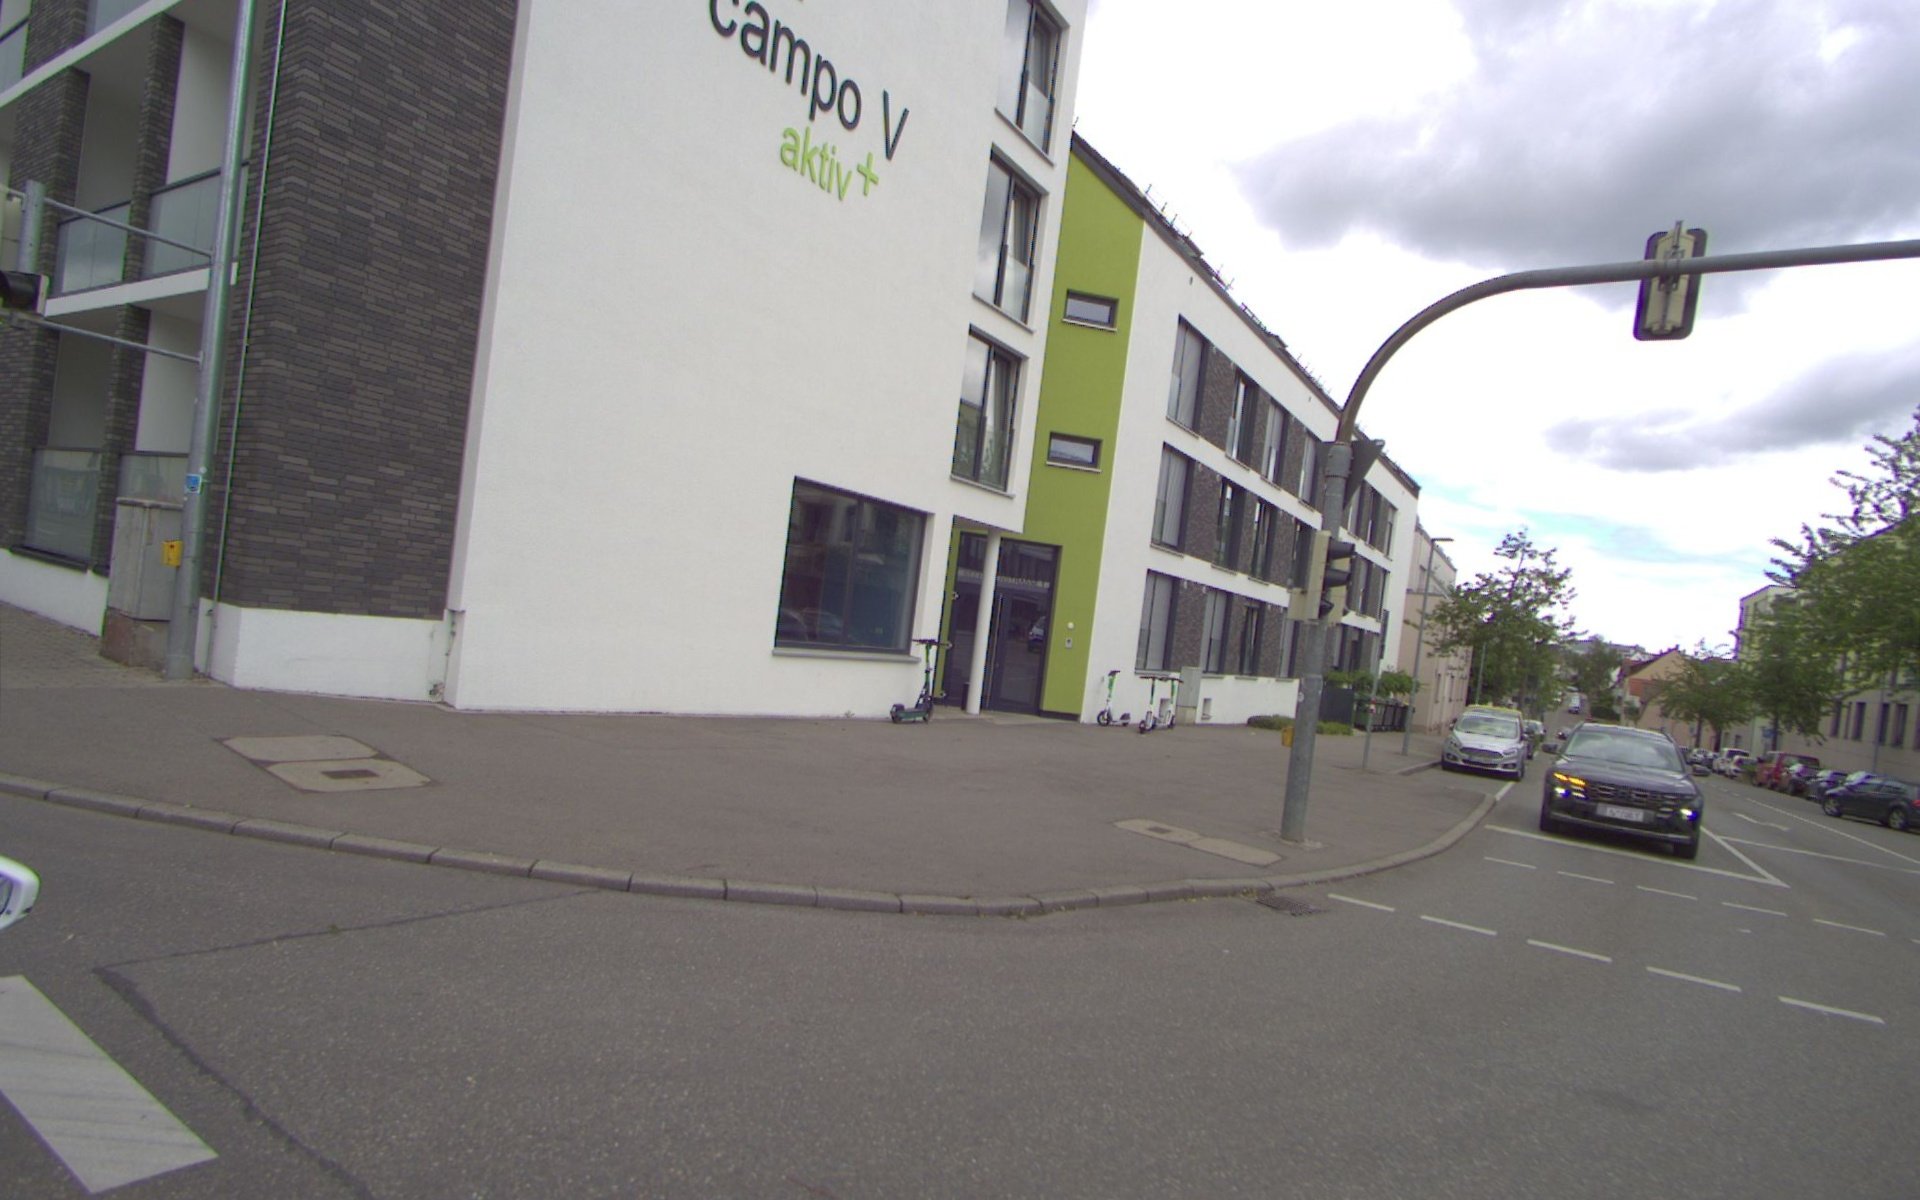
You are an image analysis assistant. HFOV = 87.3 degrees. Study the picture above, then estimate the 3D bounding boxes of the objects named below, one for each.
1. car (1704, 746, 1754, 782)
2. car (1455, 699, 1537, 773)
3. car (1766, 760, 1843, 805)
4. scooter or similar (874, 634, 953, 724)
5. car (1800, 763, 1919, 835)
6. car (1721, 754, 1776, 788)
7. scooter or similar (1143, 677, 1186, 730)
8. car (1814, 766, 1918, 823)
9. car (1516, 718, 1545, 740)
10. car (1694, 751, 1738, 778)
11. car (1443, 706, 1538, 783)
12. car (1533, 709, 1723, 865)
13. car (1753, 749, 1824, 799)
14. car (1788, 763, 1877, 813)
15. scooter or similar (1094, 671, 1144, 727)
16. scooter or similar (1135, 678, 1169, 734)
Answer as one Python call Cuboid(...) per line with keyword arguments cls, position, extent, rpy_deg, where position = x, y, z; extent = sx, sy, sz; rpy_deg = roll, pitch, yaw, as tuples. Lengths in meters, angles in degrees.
Cuboid(cls="car", position=(50.910, 10.820, 66.676), extent=(1.937, 1.949, 4.420), rpy_deg=(7, -3, 32))
Cuboid(cls="car", position=(17.186, 4.330, 32.145), extent=(1.779, 1.946, 4.627), rpy_deg=(7, -3, 33))
Cuboid(cls="car", position=(38.928, 8.368, 46.472), extent=(1.937, 1.512, 4.420), rpy_deg=(7, -3, 32))
Cuboid(cls="scooter or similar", position=(-0.683, 1.202, 15.137), extent=(0.400, 1.249, 1.232), rpy_deg=(7, -2, 33))
Cuboid(cls="car", position=(27.259, 5.872, 29.288), extent=(1.933, 1.512, 4.430), rpy_deg=(8, -2, 4))
Cuboid(cls="car", position=(47.615, 10.294, 60.818), extent=(1.937, 1.512, 4.420), rpy_deg=(7, -3, 32))
Cuboid(cls="scooter or similar", position=(4.576, 2.326, 22.464), extent=(0.358, 1.091, 1.175), rpy_deg=(7, -2, 36))
Cuboid(cls="car", position=(33.522, 7.162, 37.365), extent=(1.937, 1.512, 4.420), rpy_deg=(7, -3, 32))
Cuboid(cls="car", position=(51.648, 11.684, 91.138), extent=(1.965, 1.557, 4.805), rpy_deg=(7, -2, 28))
Cuboid(cls="car", position=(54.024, 11.739, 71.987), extent=(1.937, 1.512, 4.420), rpy_deg=(7, -3, 32))
Cuboid(cls="car", position=(14.454, 3.883, 27.294), extent=(1.779, 1.648, 4.419), rpy_deg=(7, -3, 33))
Cuboid(cls="car", position=(9.801, 2.648, 14.939), extent=(1.920, 1.677, 4.096), rpy_deg=(7, -3, 33))
Cuboid(cls="car", position=(41.434, 8.667, 50.399), extent=(1.937, 2.000, 4.420), rpy_deg=(7, -3, 32))
Cuboid(cls="car", position=(36.234, 7.766, 41.899), extent=(1.937, 1.512, 4.420), rpy_deg=(7, -3, 32))
Cuboid(cls="scooter or similar", position=(3.375, 2.110, 21.308), extent=(0.359, 1.091, 1.228), rpy_deg=(7, -2, 39))
Cuboid(cls="scooter or similar", position=(3.976, 2.180, 20.769), extent=(0.357, 1.091, 1.233), rpy_deg=(7, -2, 21))
